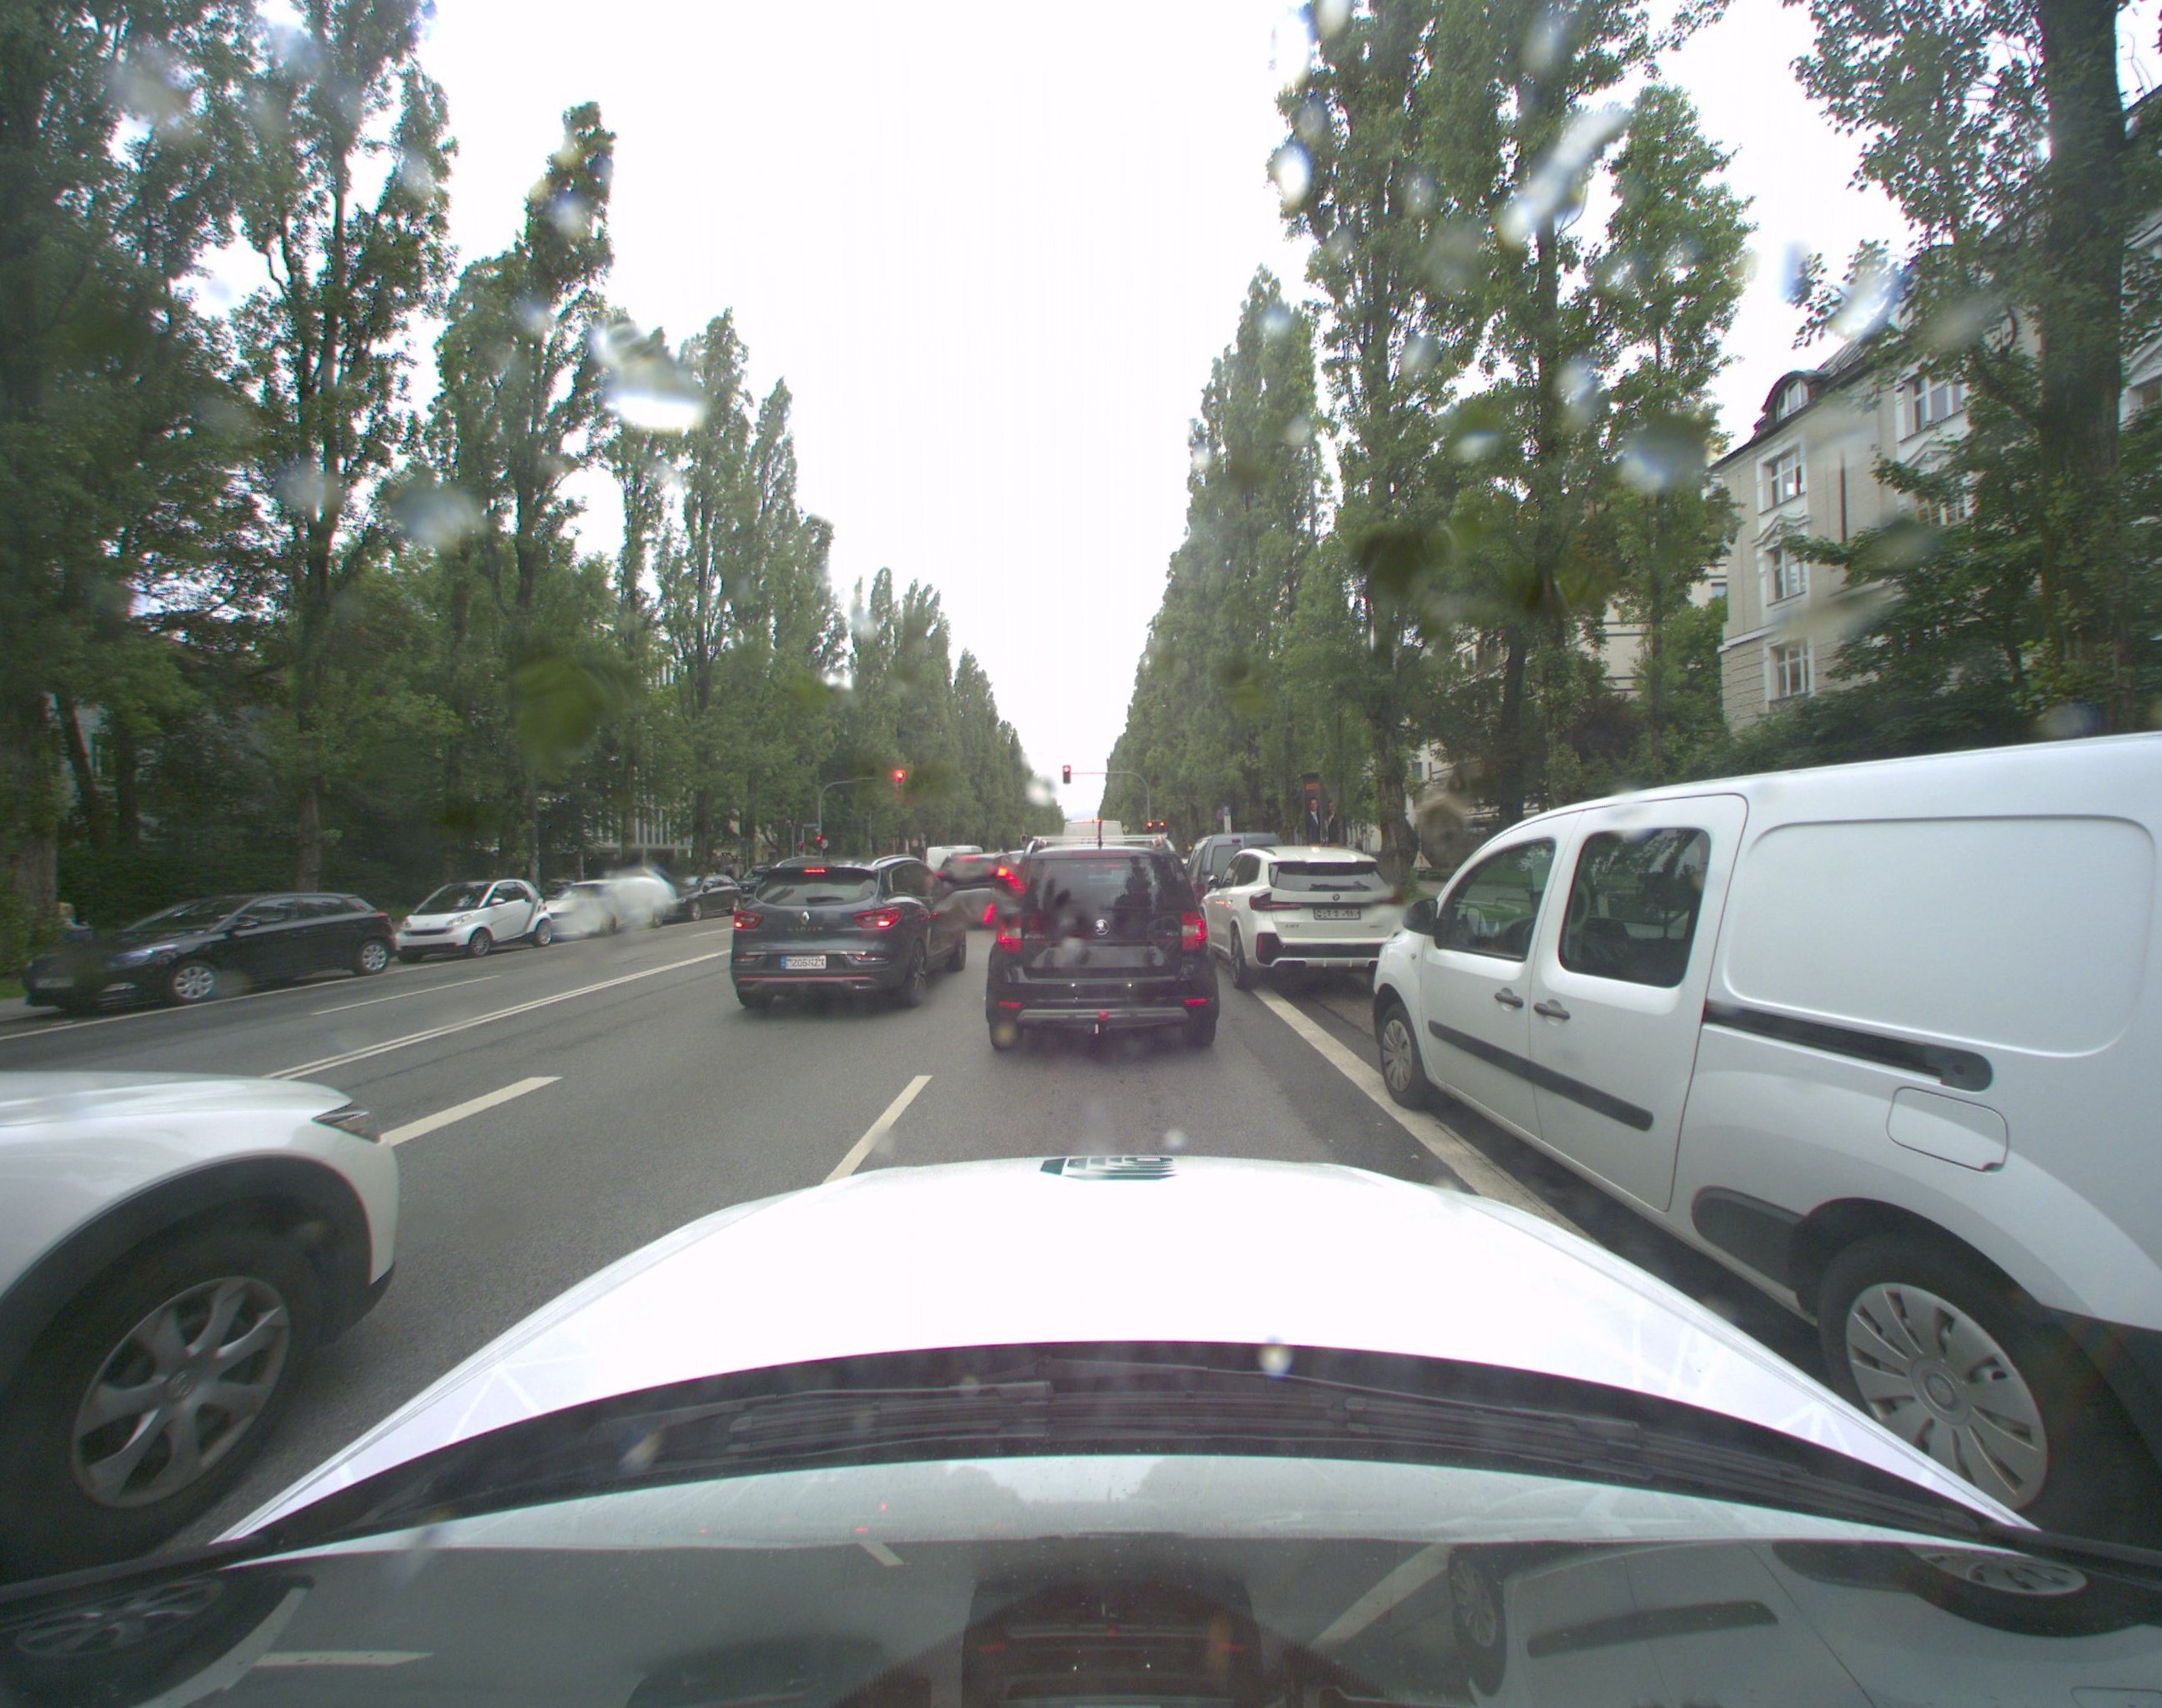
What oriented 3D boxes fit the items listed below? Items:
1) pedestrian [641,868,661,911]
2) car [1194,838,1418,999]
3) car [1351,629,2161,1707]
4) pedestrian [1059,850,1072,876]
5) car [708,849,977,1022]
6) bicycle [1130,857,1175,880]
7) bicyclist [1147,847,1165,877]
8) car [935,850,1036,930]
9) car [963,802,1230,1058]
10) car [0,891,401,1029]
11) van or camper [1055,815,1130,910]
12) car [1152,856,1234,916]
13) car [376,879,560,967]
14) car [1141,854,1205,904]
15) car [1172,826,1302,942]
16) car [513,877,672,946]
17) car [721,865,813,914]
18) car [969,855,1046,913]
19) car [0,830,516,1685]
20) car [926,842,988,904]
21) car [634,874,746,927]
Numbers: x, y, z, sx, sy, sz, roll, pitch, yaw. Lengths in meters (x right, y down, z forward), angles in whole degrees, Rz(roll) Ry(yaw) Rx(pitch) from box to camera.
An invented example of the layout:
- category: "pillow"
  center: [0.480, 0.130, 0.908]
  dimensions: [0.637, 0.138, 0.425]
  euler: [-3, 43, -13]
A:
- category: "pedestrian"
  center: [-15.650, 1.275, 29.661]
  dimensions: [0.463, 1.528, 0.395]
  euler: [-2, 0, 1]
- category: "car"
  center: [2.594, 0.653, 10.437]
  dimensions: [1.735, 1.593, 4.212]
  euler: [-2, 0, 1]
- category: "car"
  center: [2.745, 0.529, 3.359]
  dimensions: [1.845, 1.881, 4.168]
  euler: [-2, 0, 0]
- category: "pedestrian"
  center: [-1.215, 0.687, 64.297]
  dimensions: [0.881, 2.013, 1.014]
  euler: [-2, 0, 4]
- category: "car"
  center: [-2.474, 0.753, 9.625]
  dimensions: [1.828, 1.586, 4.187]
  euler: [0, 0, 2]
- category: "bicycle"
  center: [4.217, 0.870, 48.193]
  dimensions: [2.531, 1.237, 0.811]
  euler: [-2, 0, -5]
- category: "bicyclist"
  center: [4.426, 0.451, 48.198]
  dimensions: [0.904, 1.722, 0.823]
  euler: [-2, 0, -5]
- category: "car"
  center: [-2.094, 0.748, 18.988]
  dimensions: [1.775, 1.620, 4.025]
  euler: [-2, 0, 1]
- category: "car"
  center: [0.149, 0.530, 7.642]
  dimensions: [1.849, 1.770, 4.001]
  euler: [0, 0, 1]
- category: "car"
  center: [-12.580, 1.413, 12.055]
  dimensions: [1.594, 1.425, 3.853]
  euler: [-4, 0, 2]
- category: "van or camper"
  center: [0.296, 0.227, 24.509]
  dimensions: [1.969, 2.548, 4.023]
  euler: [-2, 0, -1]
- category: "car"
  center: [2.906, 0.784, 21.784]
  dimensions: [1.729, 1.387, 3.563]
  euler: [-2, 0, 1]
- category: "car"
  center: [-12.529, 1.348, 16.869]
  dimensions: [1.423, 1.447, 2.966]
  euler: [-5, 0, 0]
- category: "car"
  center: [2.979, 0.767, 27.087]
  dimensions: [1.729, 1.475, 3.563]
  euler: [-2, 0, 1]
- category: "car"
  center: [2.848, 0.502, 15.710]
  dimensions: [1.729, 1.895, 4.025]
  euler: [-2, 0, 1]
- category: "car"
  center: [-12.505, 1.404, 21.206]
  dimensions: [1.619, 1.389, 4.164]
  euler: [-4, 0, -2]
- category: "car"
  center: [-12.413, 1.343, 32.574]
  dimensions: [1.844, 1.654, 4.693]
  euler: [-4, 0, -2]
- category: "car"
  center: [-2.190, 0.858, 25.477]
  dimensions: [1.987, 1.560, 4.000]
  euler: [-2, 0, 0]
- category: "car"
  center: [-2.941, 0.754, 0.709]
  dimensions: [1.897, 1.525, 4.012]
  euler: [-2, 0, 3]
- category: "car"
  center: [-4.643, 0.685, 30.925]
  dimensions: [1.777, 2.111, 4.021]
  euler: [-2, 0, -2]
- category: "car"
  center: [-12.550, 1.436, 26.457]
  dimensions: [1.619, 1.389, 4.164]
  euler: [-4, 0, -2]
